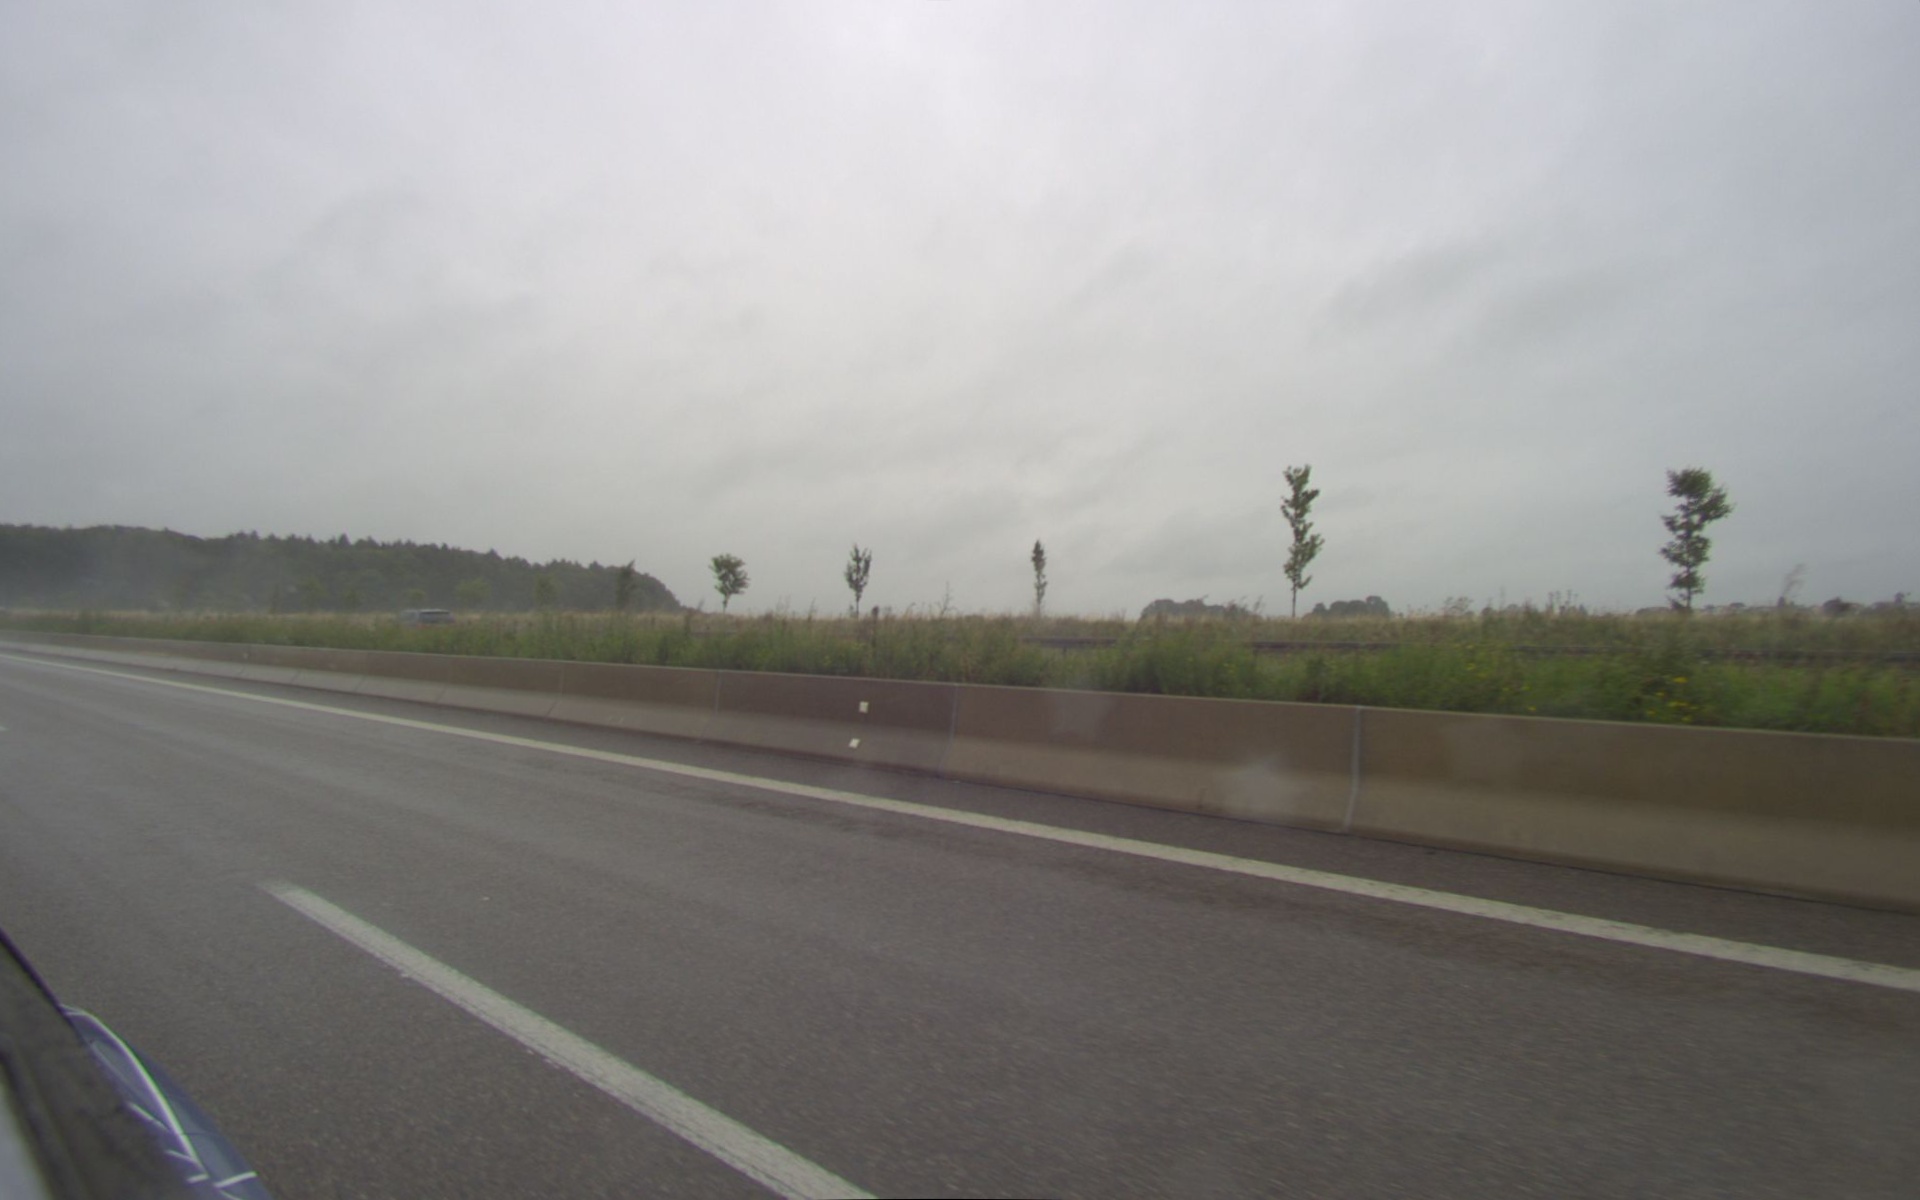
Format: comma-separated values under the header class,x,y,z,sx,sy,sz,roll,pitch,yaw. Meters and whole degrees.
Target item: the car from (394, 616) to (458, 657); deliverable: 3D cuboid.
class,x,y,z,sx,sy,sz,roll,pitch,yaw
car,-23.887,1.605,45.234,3.170,1.740,1.480,-1,-1,40
